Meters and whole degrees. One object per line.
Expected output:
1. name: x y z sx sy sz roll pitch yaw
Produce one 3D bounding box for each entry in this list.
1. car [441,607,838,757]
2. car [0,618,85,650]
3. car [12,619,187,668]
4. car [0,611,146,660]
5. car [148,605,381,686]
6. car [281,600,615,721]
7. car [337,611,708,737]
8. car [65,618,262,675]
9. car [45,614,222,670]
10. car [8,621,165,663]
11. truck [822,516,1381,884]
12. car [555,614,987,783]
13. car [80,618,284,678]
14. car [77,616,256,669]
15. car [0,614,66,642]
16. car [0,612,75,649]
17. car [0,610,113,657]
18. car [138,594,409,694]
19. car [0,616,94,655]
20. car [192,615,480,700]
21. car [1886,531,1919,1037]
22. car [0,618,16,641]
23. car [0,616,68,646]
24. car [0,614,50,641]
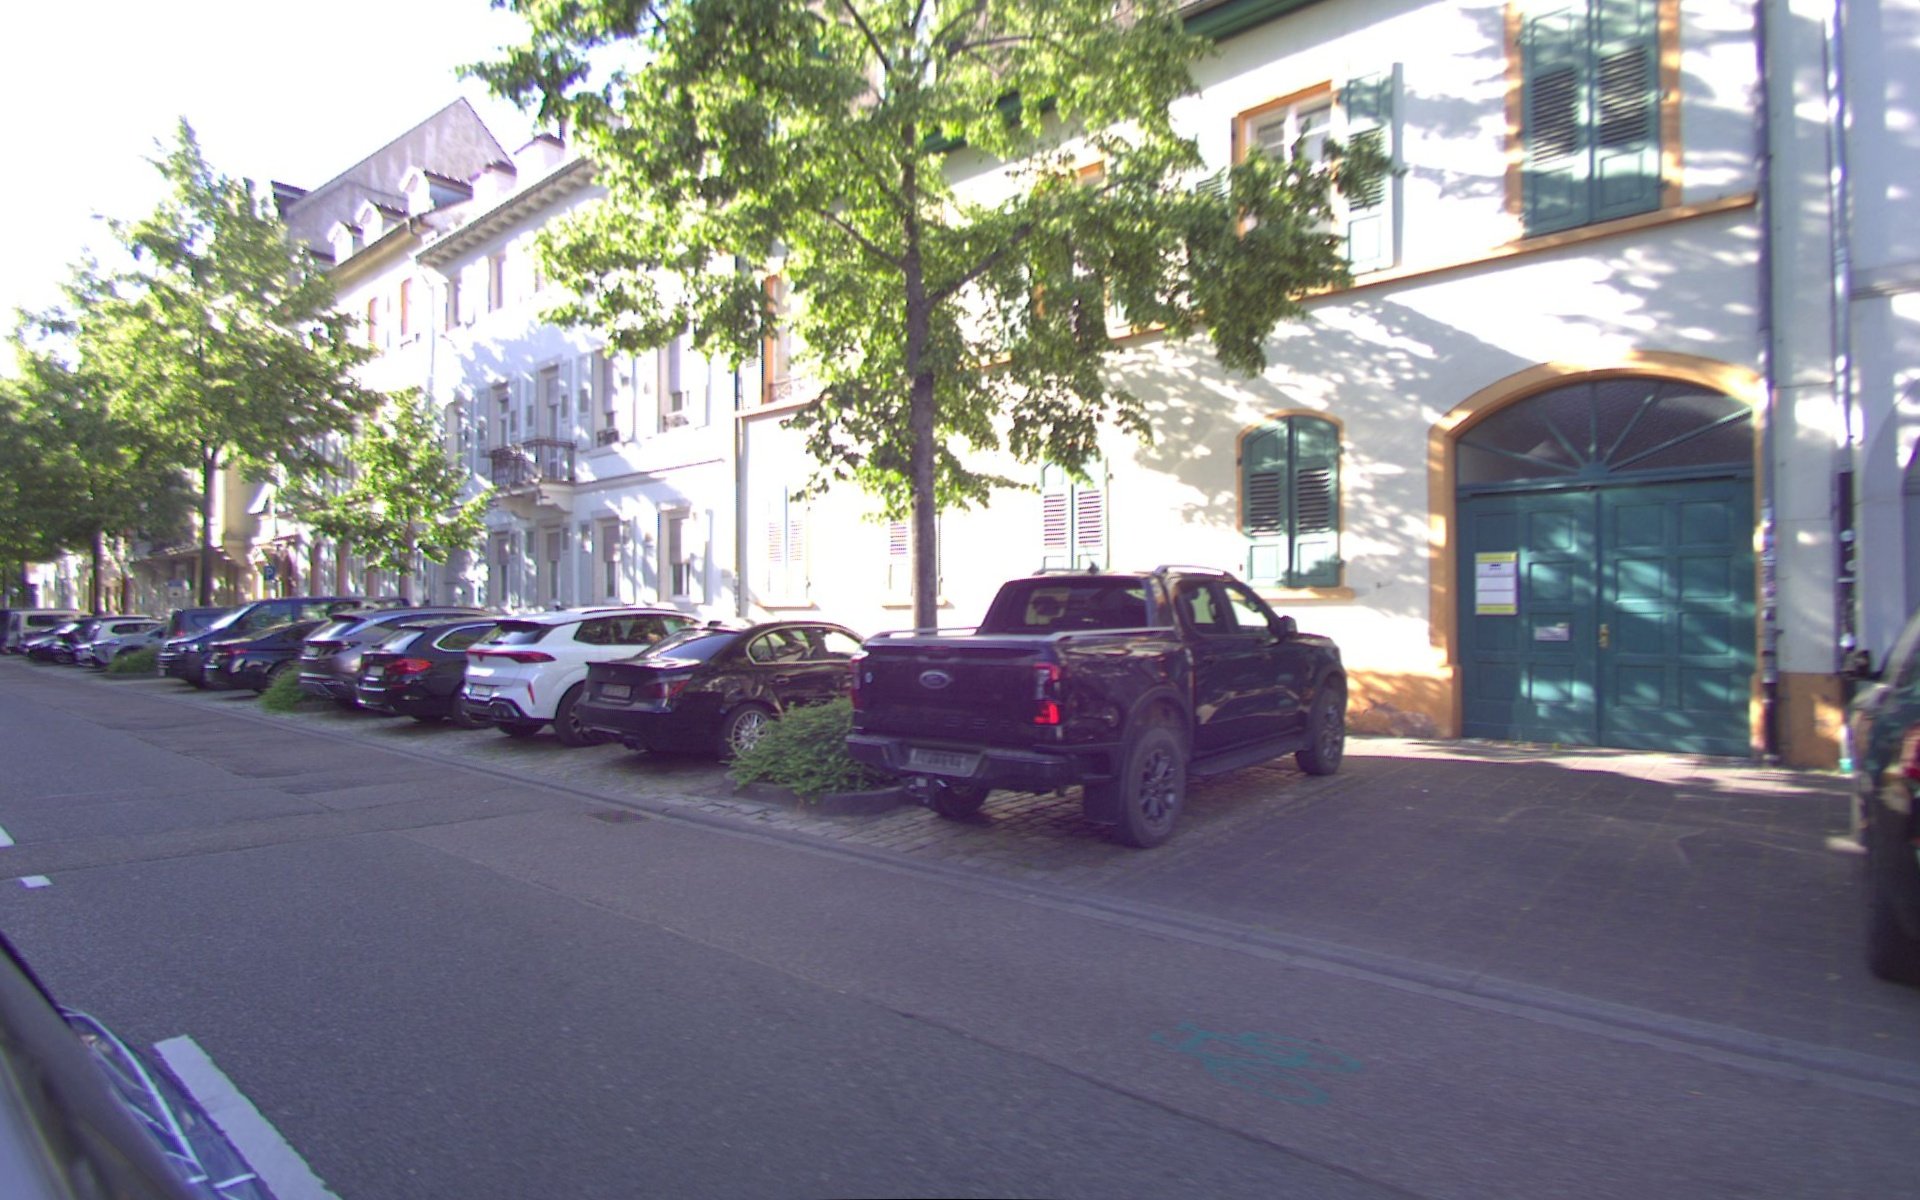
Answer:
1. car: -3.918 0.890 13.052 1.808 1.584 4.630 -1 -1 42
2. car: -47.003 1.696 50.803 1.911 1.556 4.305 -1 -1 33
3. car: -29.599 1.442 34.901 1.916 1.552 4.417 -1 -1 43
4. car: -35.617 1.358 40.573 1.909 1.848 4.308 -1 -1 31
5. car: -16.931 1.037 24.807 1.916 1.785 4.418 -1 -1 42
6. car: -8.280 0.890 16.771 1.806 1.725 4.636 -1 -1 38
7. car: -6.161 0.936 14.720 1.808 1.531 4.630 -1 -1 42
8. car: -23.987 1.356 30.610 1.915 1.552 4.421 -1 -1 40
9. car: -27.334 1.341 33.590 1.915 1.722 4.295 -1 -1 40
10. car: -33.400 1.570 38.777 1.914 1.450 4.297 -1 -1 39
11. truck: 1.463 0.611 7.972 1.998 1.953 5.033 -1 -2 40
12. car: -1.883 0.910 11.335 1.808 1.474 4.630 -1 -1 42
13. car: -22.090 1.305 28.854 1.917 1.552 4.416 -1 -1 44
14. car: -25.505 1.315 32.635 1.808 1.594 4.295 -1 -1 40
15. car: -54.003 1.610 57.373 1.996 1.503 4.657 -2 -1 36
16. car: -48.903 1.575 52.405 1.925 1.838 4.303 -1 -1 34
17. car: -39.605 1.399 43.644 1.930 1.941 4.523 -1 -1 43
18. car: -14.922 0.885 22.213 1.916 1.965 4.630 -1 -1 42
19. car: -43.397 1.623 47.217 1.914 1.746 4.297 -1 -1 39
20. car: -12.199 1.052 20.063 1.682 1.470 4.598 -1 -1 40
21. car: 5.430 0.618 4.541 1.808 1.706 4.630 -1 -1 42
22. car: -65.596 1.973 67.053 1.944 1.556 4.292 -1 -1 43
23. car: -50.728 1.650 54.015 1.956 1.556 4.310 -1 -1 29
24. car: -56.134 1.608 58.705 1.996 1.503 4.657 0 1 36
